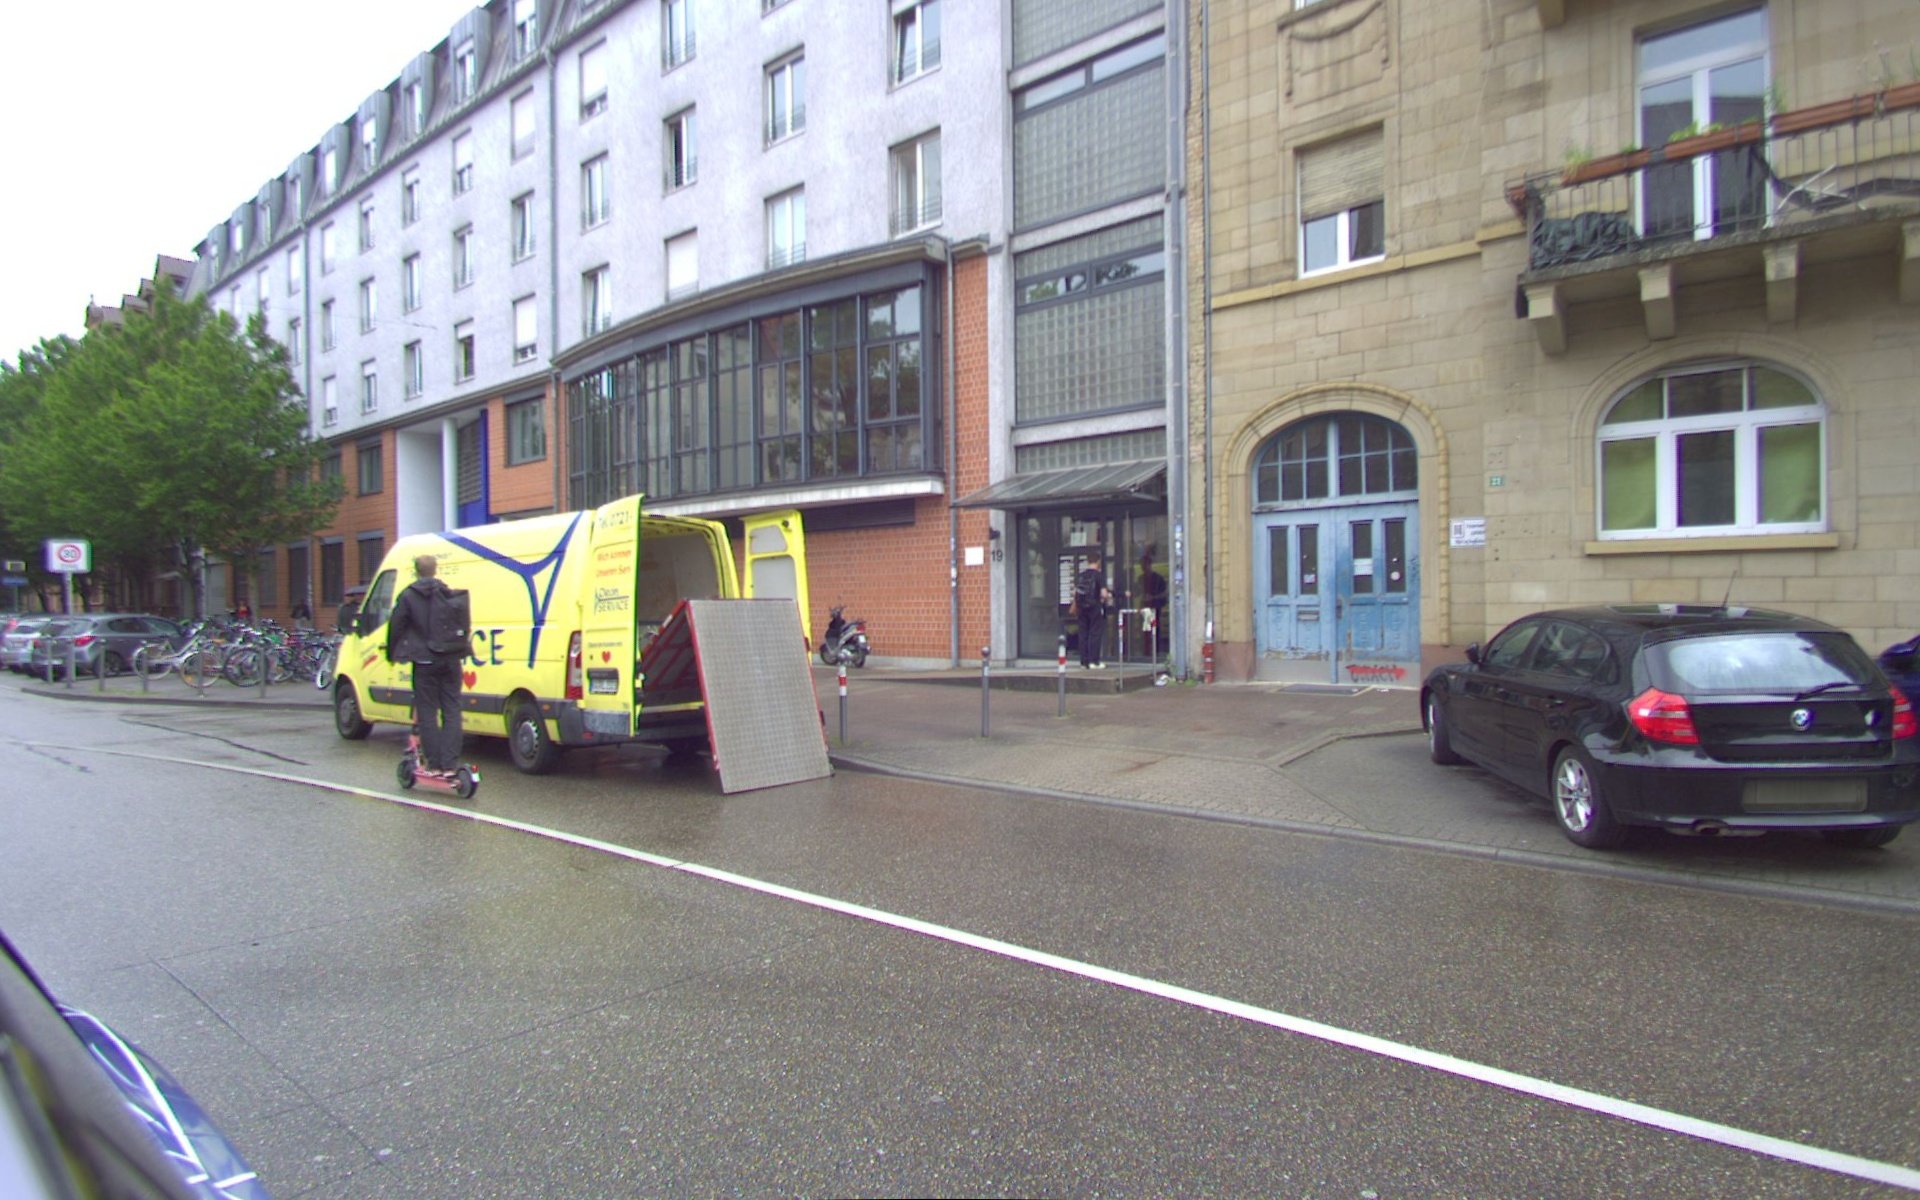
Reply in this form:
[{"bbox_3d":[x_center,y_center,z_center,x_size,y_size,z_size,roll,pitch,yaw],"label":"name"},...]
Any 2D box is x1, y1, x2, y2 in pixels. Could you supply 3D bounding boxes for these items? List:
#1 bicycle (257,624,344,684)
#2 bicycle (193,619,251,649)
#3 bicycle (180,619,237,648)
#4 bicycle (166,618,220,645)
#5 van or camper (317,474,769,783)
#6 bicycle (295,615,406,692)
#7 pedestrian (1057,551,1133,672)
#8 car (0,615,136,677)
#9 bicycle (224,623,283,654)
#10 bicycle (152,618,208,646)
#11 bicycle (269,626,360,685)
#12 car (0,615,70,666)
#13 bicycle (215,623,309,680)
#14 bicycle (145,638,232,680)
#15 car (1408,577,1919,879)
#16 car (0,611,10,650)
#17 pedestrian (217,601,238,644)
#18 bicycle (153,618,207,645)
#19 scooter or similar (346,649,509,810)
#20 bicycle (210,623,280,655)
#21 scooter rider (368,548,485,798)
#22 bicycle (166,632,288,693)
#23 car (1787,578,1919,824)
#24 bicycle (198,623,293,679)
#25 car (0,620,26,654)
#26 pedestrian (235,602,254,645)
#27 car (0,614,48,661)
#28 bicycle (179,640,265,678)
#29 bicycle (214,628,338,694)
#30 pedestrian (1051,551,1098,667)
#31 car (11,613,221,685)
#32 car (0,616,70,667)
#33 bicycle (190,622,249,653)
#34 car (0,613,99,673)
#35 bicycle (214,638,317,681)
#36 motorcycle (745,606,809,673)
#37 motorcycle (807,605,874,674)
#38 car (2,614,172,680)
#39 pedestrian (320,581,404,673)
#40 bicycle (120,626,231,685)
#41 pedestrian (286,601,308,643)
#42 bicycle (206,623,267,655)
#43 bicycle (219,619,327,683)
[{"bbox_3d":[-13.262,1.060,20.365,1.439,1.111,0.462,-2,1,-36],"label":"bicycle"},{"bbox_3d":[-25.606,1.159,35.131,0.444,0.992,1.573,-1,-1,32],"label":"bicycle"},{"bbox_3d":[-26.564,1.163,35.801,0.464,0.992,1.573,-1,-1,32],"label":"bicycle"},{"bbox_3d":[-28.822,1.177,38.041,0.464,0.992,1.573,-1,-1,32],"label":"bicycle"},{"bbox_3d":[-4.908,0.304,11.367,5.936,2.631,2.174,-1,-2,40],"label":"van or camper"},{"bbox_3d":[-11.202,0.952,18.683,0.760,1.225,1.917,0,2,5],"label":"bicycle"},{"bbox_3d":[2.028,0.171,15.166,0.785,1.741,0.997,-1,-1,31],"label":"pedestrian"},{"bbox_3d":[-24.236,1.198,27.346,1.432,1.514,3.078,-1,0,0],"label":"car"},{"bbox_3d":[-23.828,1.275,34.149,0.444,0.992,1.573,-1,-1,32],"label":"bicycle"},{"bbox_3d":[-28.514,1.168,37.015,0.464,0.992,1.573,-1,-1,32],"label":"bicycle"},{"bbox_3d":[-12.659,1.069,19.881,0.418,1.072,1.442,-1,1,44],"label":"bicycle"},{"bbox_3d":[-30.931,1.301,32.776,1.358,1.567,2.971,-1,0,11],"label":"car"},{"bbox_3d":[-14.922,1.071,21.663,0.517,1.114,1.596,-1,1,27],"label":"bicycle"},{"bbox_3d":[-17.116,1.299,22.481,0.497,0.811,1.454,-1,1,43],"label":"bicycle"},{"bbox_3d":[4.754,0.676,7.162,1.777,1.523,4.034,0,-1,7],"label":"car"},{"bbox_3d":[-48.701,1.494,48.826,1.666,1.910,4.330,0,-1,-1],"label":"car"},{"bbox_3d":[-28.199,0.867,38.959,0.372,1.622,0.598,-1,-1,39],"label":"pedestrian"},{"bbox_3d":[-29.777,1.177,38.666,0.464,0.992,1.573,-1,-1,32],"label":"bicycle"},{"bbox_3d":[-4.394,1.010,8.333,1.383,1.174,0.694,-1,-1,39],"label":"scooter or similar"},{"bbox_3d":[-23.371,1.264,33.112,0.444,0.992,1.831,-1,-1,32],"label":"bicycle"},{"bbox_3d":[-4.379,0.574,8.327,0.503,1.950,0.704,-1,-2,38],"label":"scooter rider"},{"bbox_3d":[-13.778,1.154,19.058,0.519,1.000,1.778,-1,1,38],"label":"bicycle"},{"bbox_3d":[6.932,0.635,5.709,1.780,1.585,4.029,-1,-1,11],"label":"car"},{"bbox_3d":[-15.496,1.093,21.985,0.519,1.114,1.591,-1,1,35],"label":"bicycle"},{"bbox_3d":[-43.486,1.652,44.539,1.662,1.502,3.798,0,-1,-10],"label":"car"},{"bbox_3d":[-27.583,0.904,39.025,0.425,1.622,0.508,-1,-1,41],"label":"pedestrian"},{"bbox_3d":[-33.042,1.289,34.549,1.138,1.567,2.672,-1,0,11],"label":"car"},{"bbox_3d":[-16.338,1.296,22.434,0.497,0.727,1.454,-1,1,43],"label":"bicycle"},{"bbox_3d":[-12.776,1.114,18.953,1.832,1.081,0.610,-2,1,-45],"label":"bicycle"},{"bbox_3d":[1.782,0.146,15.809,0.467,1.761,0.608,0,-2,-24],"label":"pedestrian"},{"bbox_3d":[-19.837,1.096,23.984,1.720,1.514,3.614,0,0,9],"label":"car"},{"bbox_3d":[-29.060,1.269,31.107,1.177,1.461,2.502,-1,0,0],"label":"car"},{"bbox_3d":[-25.269,1.269,34.564,0.444,0.992,1.573,-1,-1,32],"label":"bicycle"},{"bbox_3d":[-26.653,1.204,28.951,1.432,1.564,3.078,-1,0,0],"label":"car"},{"bbox_3d":[-14.486,1.225,21.154,0.455,0.767,1.757,-1,1,27],"label":"bicycle"},{"bbox_3d":[-3.512,0.727,19.294,0.516,1.190,2.010,-1,0,-30],"label":"motorcycle"},{"bbox_3d":[-2.200,0.696,18.419,0.516,1.190,1.763,-1,0,-30],"label":"motorcycle"},{"bbox_3d":[-22.136,1.155,25.793,1.436,1.514,3.070,-1,0,9],"label":"car"},{"bbox_3d":[-13.281,0.585,22.490,1.054,1.894,1.213,-1,3,40],"label":"pedestrian"},{"bbox_3d":[-16.577,1.152,21.423,0.472,1.114,1.791,-1,1,35],"label":"bicycle"},{"bbox_3d":[-24.427,0.805,37.271,0.547,1.541,0.509,-1,-2,37],"label":"pedestrian"},{"bbox_3d":[-23.811,1.265,33.323,0.444,0.992,1.573,-1,-1,32],"label":"bicycle"},{"bbox_3d":[-14.051,1.018,20.762,0.517,1.203,1.798,-1,1,27],"label":"bicycle"}]
